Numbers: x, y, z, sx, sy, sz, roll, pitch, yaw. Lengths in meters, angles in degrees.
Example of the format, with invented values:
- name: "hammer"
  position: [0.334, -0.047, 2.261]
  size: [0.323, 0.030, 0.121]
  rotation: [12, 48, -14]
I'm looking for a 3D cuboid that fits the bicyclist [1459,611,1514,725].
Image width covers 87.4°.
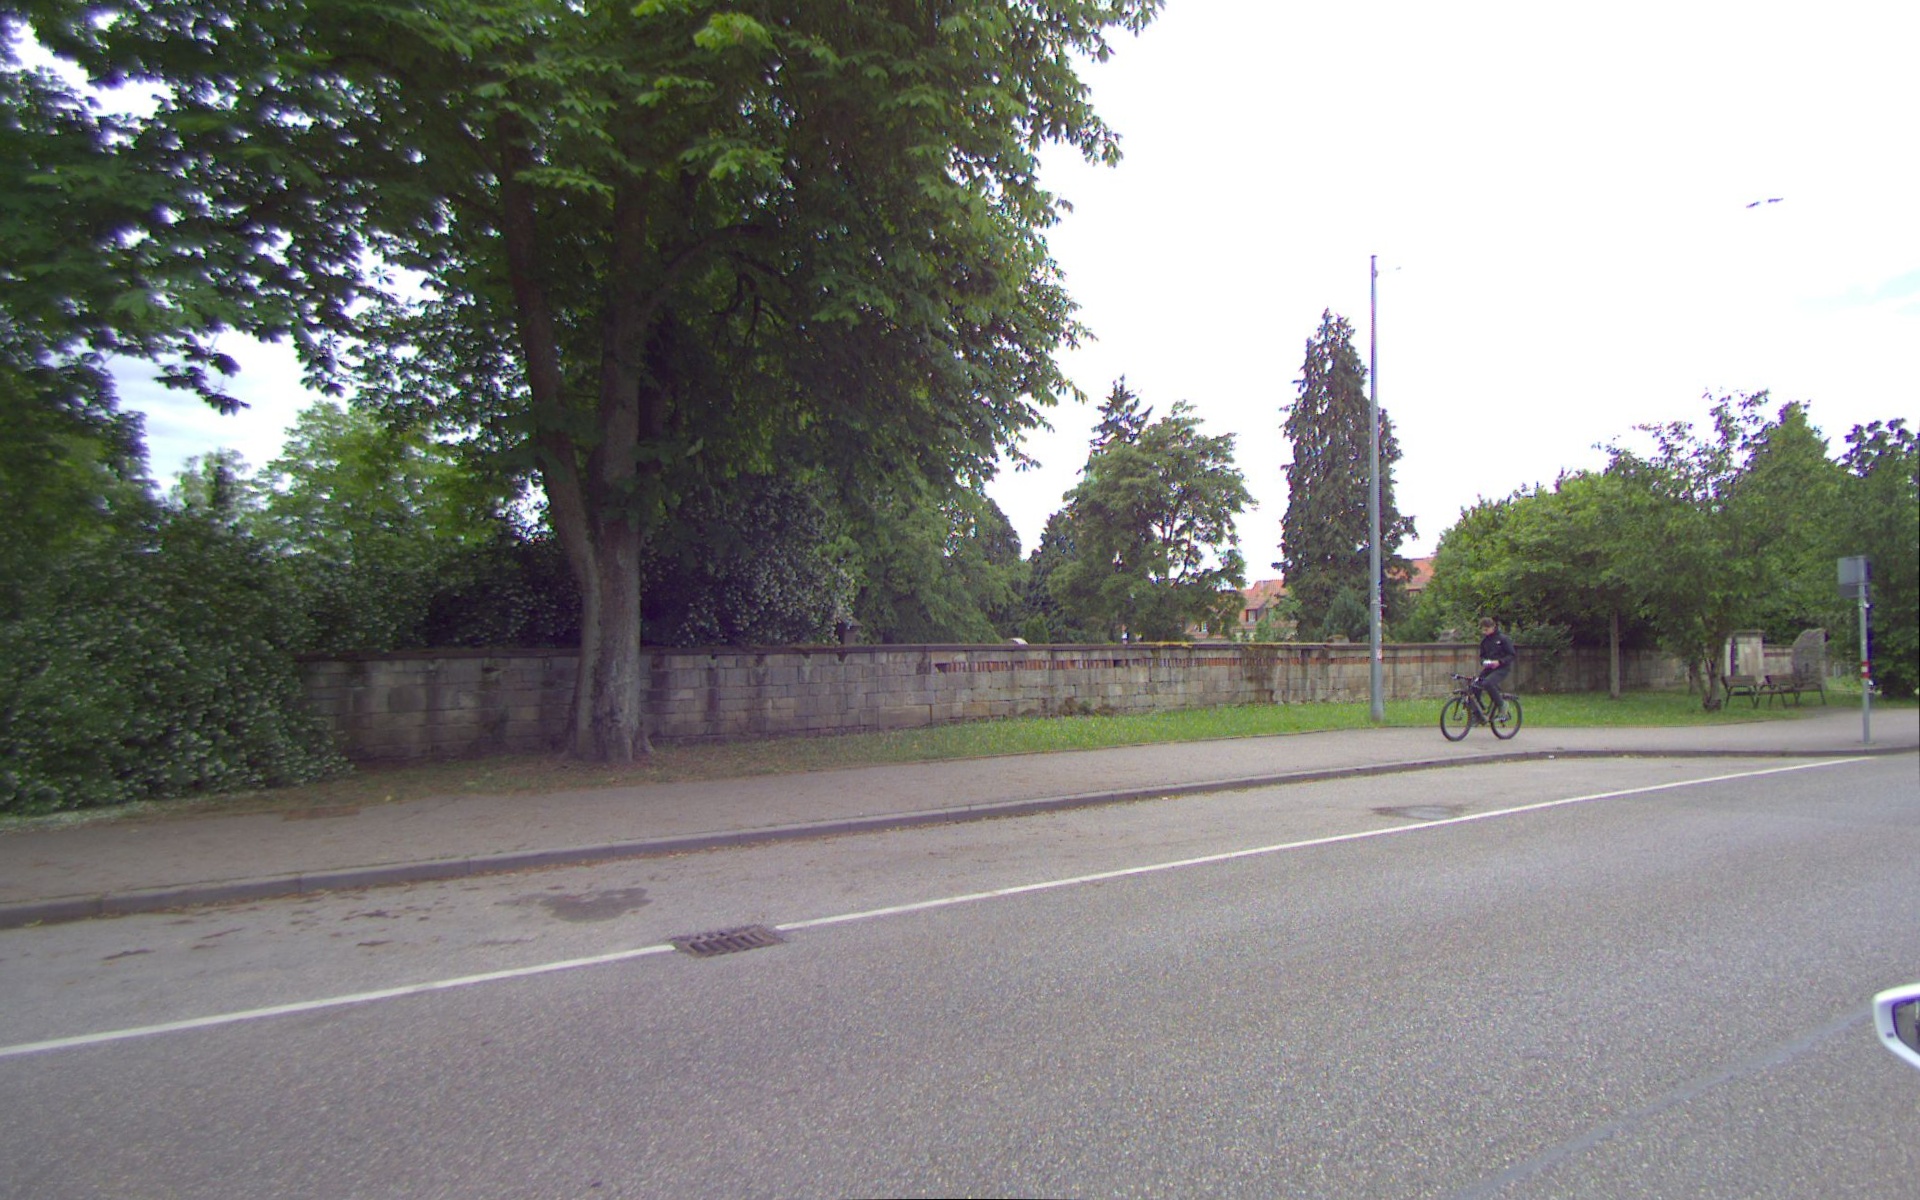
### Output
- name: "bicyclist"
  position: [8.121, 1.031, 15.489]
  size: [0.581, 1.706, 0.485]
  rotation: [2, 0, -30]

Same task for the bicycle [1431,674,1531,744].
- name: "bicycle"
  position: [8.021, 1.660, 15.444]
  size: [1.728, 0.977, 0.493]
  rotation: [2, 0, -31]
